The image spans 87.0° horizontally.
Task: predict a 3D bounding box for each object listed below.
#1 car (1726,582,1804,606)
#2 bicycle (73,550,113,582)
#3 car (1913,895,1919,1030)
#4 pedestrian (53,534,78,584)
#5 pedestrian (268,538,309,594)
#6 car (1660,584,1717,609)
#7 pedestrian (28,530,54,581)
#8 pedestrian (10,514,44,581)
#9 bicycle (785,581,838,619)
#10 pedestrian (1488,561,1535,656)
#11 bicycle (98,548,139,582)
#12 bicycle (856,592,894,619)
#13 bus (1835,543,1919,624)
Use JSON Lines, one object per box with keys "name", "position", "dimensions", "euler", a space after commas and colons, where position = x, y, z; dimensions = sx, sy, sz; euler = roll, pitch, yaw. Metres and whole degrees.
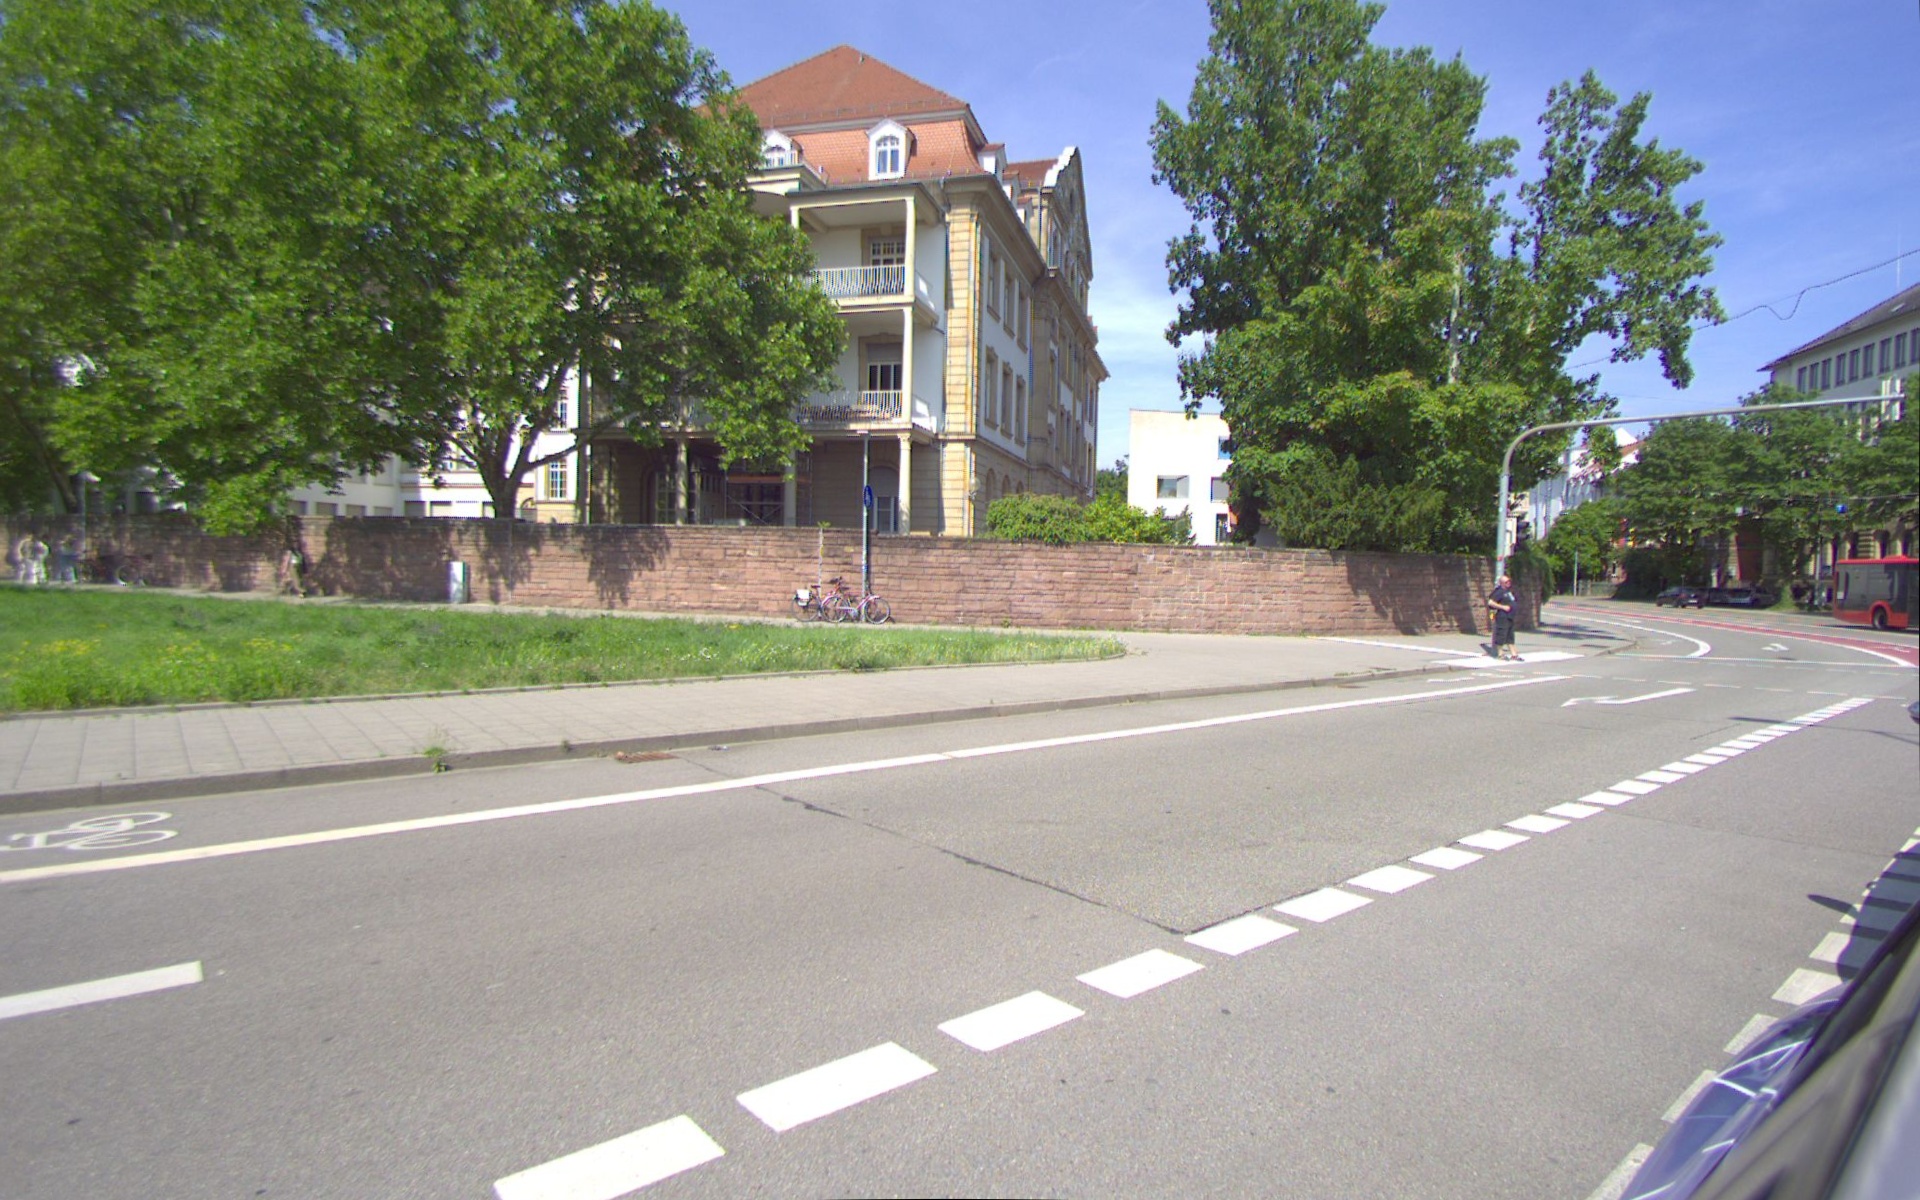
{"name": "car", "position": [59.373, -0.436, 74.720], "dimensions": [3.941, 1.682, 1.993], "euler": [0, 3, 14]}
{"name": "bicycle", "position": [-28.863, -1.135, 33.688], "dimensions": [1.432, 1.046, 0.444], "euler": [3, 2, 24]}
{"name": "car", "position": [5.328, 0.675, 3.990], "dimensions": [4.077, 1.605, 1.688], "euler": [0, 3, -39]}
{"name": "pedestrian", "position": [-28.977, -1.322, 32.770], "dimensions": [0.700, 1.597, 0.516], "euler": [3, 3, 41]}
{"name": "pedestrian", "position": [-19.050, -0.973, 28.705], "dimensions": [0.900, 1.567, 0.501], "euler": [2, 2, 13]}
{"name": "car", "position": [49.974, -0.268, 69.492], "dimensions": [1.973, 1.638, 3.978], "euler": [0, 0, 17]}
{"name": "pedestrian", "position": [-29.202, -1.415, 32.164], "dimensions": [0.700, 1.597, 0.516], "euler": [3, 3, 41]}
{"name": "pedestrian", "position": [-28.649, -1.612, 31.076], "dimensions": [0.586, 2.038, 0.522], "euler": [1, 2, 9]}
{"name": "bicycle", "position": [-3.617, 0.009, 24.605], "dimensions": [1.202, 0.894, 0.395], "euler": [1, 2, -21]}
{"name": "pedestrian", "position": [12.156, 0.177, 22.315], "dimensions": [0.790, 2.038, 0.608], "euler": [2, 1, 35]}
{"name": "bicycle", "position": [-27.482, -1.151, 33.050], "dimensions": [1.432, 1.046, 0.444], "euler": [3, 2, 24]}
{"name": "bicycle", "position": [-2.100, 0.133, 25.016], "dimensions": [0.929, 0.609, 0.275], "euler": [2, 2, -2]}
{"name": "bus", "position": [38.210, -0.627, 37.746], "dimensions": [3.087, 3.133, 12.360], "euler": [0, 1, 14]}
